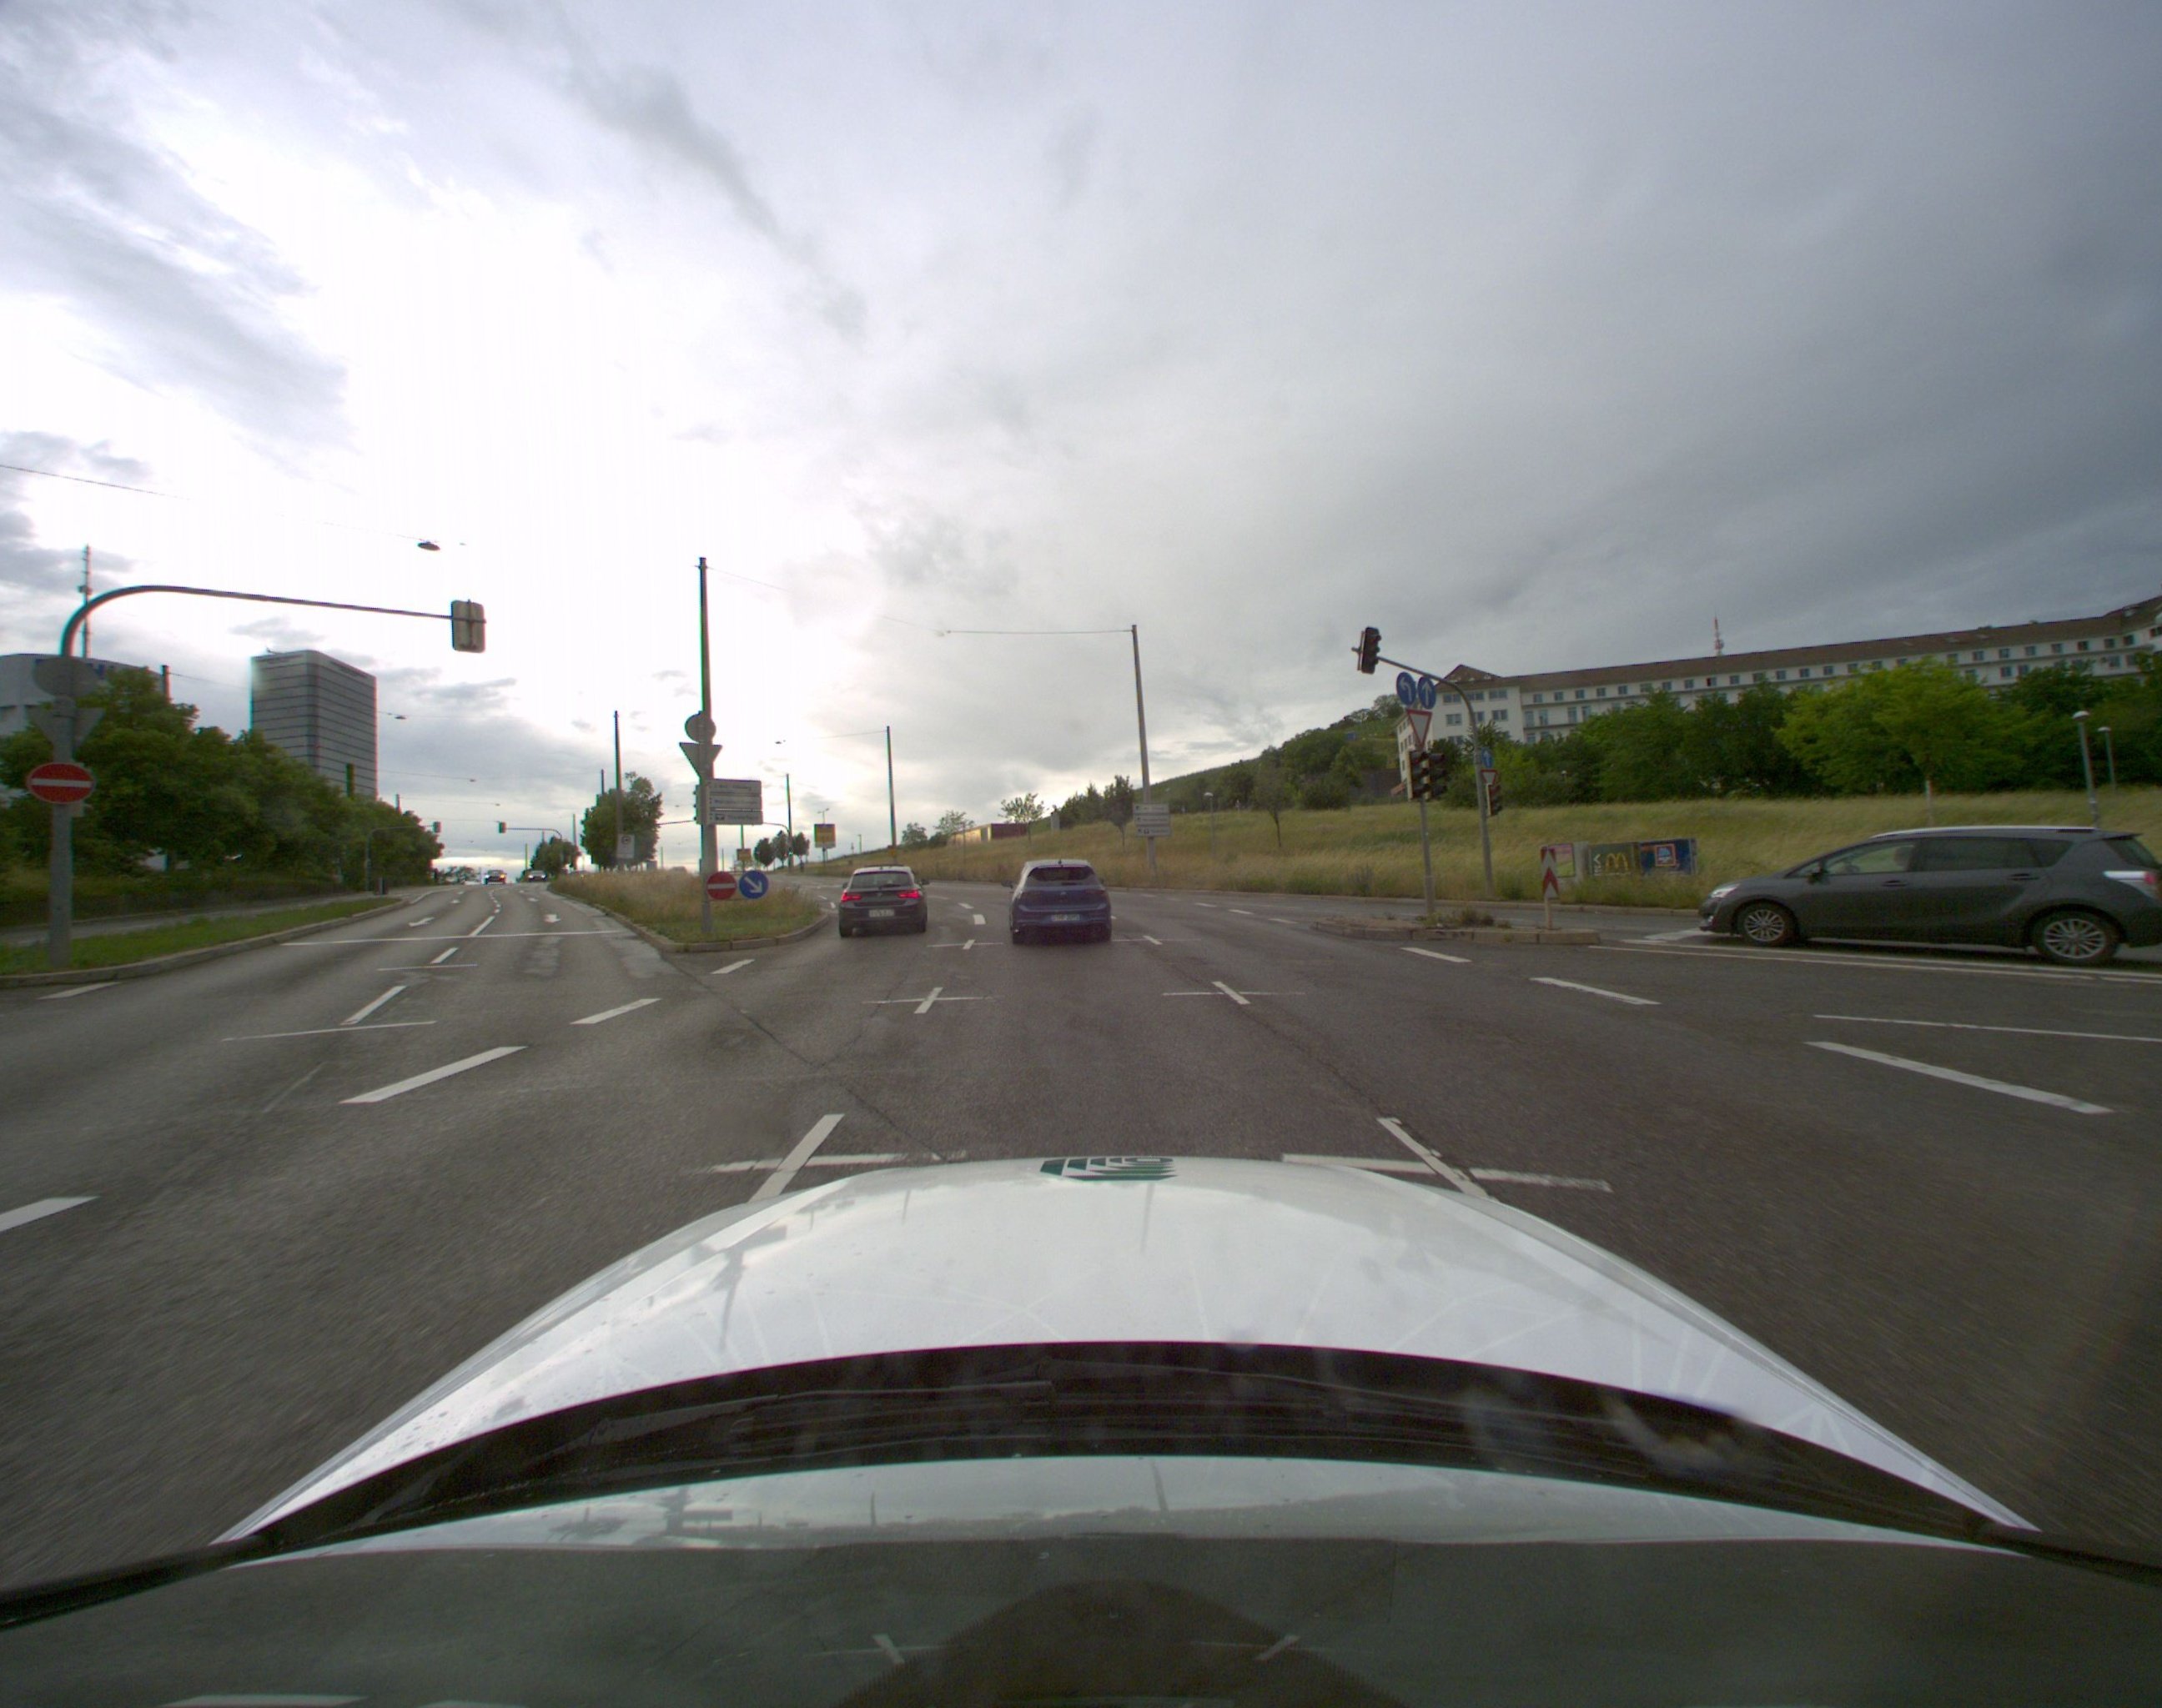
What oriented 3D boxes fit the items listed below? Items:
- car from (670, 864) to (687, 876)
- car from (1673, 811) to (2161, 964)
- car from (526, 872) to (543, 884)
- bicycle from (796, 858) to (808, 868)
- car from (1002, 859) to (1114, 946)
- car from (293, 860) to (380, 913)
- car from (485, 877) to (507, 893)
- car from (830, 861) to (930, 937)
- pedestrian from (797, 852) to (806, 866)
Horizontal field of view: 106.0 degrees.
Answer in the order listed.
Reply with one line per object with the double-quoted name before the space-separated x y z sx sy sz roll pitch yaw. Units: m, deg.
"car" -53.253 2.152 107.810 1.733 1.542 3.667 1 -2 -30
"car" 11.161 0.421 11.121 2.008 1.642 4.577 1 -2 -35
"car" -69.360 3.058 103.352 1.822 1.469 3.574 0 -1 -34
"bicycle" -33.487 1.081 97.709 0.638 1.104 1.732 -11 6 -41
"car" -0.494 0.821 15.645 1.834 1.393 3.995 -2 0 -4
"car" -31.676 1.372 34.781 2.007 2.013 3.959 -3 0 -32
"car" -64.224 3.389 89.465 1.875 1.620 3.956 -1 0 -36
"car" -4.380 0.916 18.274 1.869 1.461 3.962 -2 -1 -10
"pedestrian" -33.541 0.648 97.702 0.638 1.570 0.885 -9 4 -40
